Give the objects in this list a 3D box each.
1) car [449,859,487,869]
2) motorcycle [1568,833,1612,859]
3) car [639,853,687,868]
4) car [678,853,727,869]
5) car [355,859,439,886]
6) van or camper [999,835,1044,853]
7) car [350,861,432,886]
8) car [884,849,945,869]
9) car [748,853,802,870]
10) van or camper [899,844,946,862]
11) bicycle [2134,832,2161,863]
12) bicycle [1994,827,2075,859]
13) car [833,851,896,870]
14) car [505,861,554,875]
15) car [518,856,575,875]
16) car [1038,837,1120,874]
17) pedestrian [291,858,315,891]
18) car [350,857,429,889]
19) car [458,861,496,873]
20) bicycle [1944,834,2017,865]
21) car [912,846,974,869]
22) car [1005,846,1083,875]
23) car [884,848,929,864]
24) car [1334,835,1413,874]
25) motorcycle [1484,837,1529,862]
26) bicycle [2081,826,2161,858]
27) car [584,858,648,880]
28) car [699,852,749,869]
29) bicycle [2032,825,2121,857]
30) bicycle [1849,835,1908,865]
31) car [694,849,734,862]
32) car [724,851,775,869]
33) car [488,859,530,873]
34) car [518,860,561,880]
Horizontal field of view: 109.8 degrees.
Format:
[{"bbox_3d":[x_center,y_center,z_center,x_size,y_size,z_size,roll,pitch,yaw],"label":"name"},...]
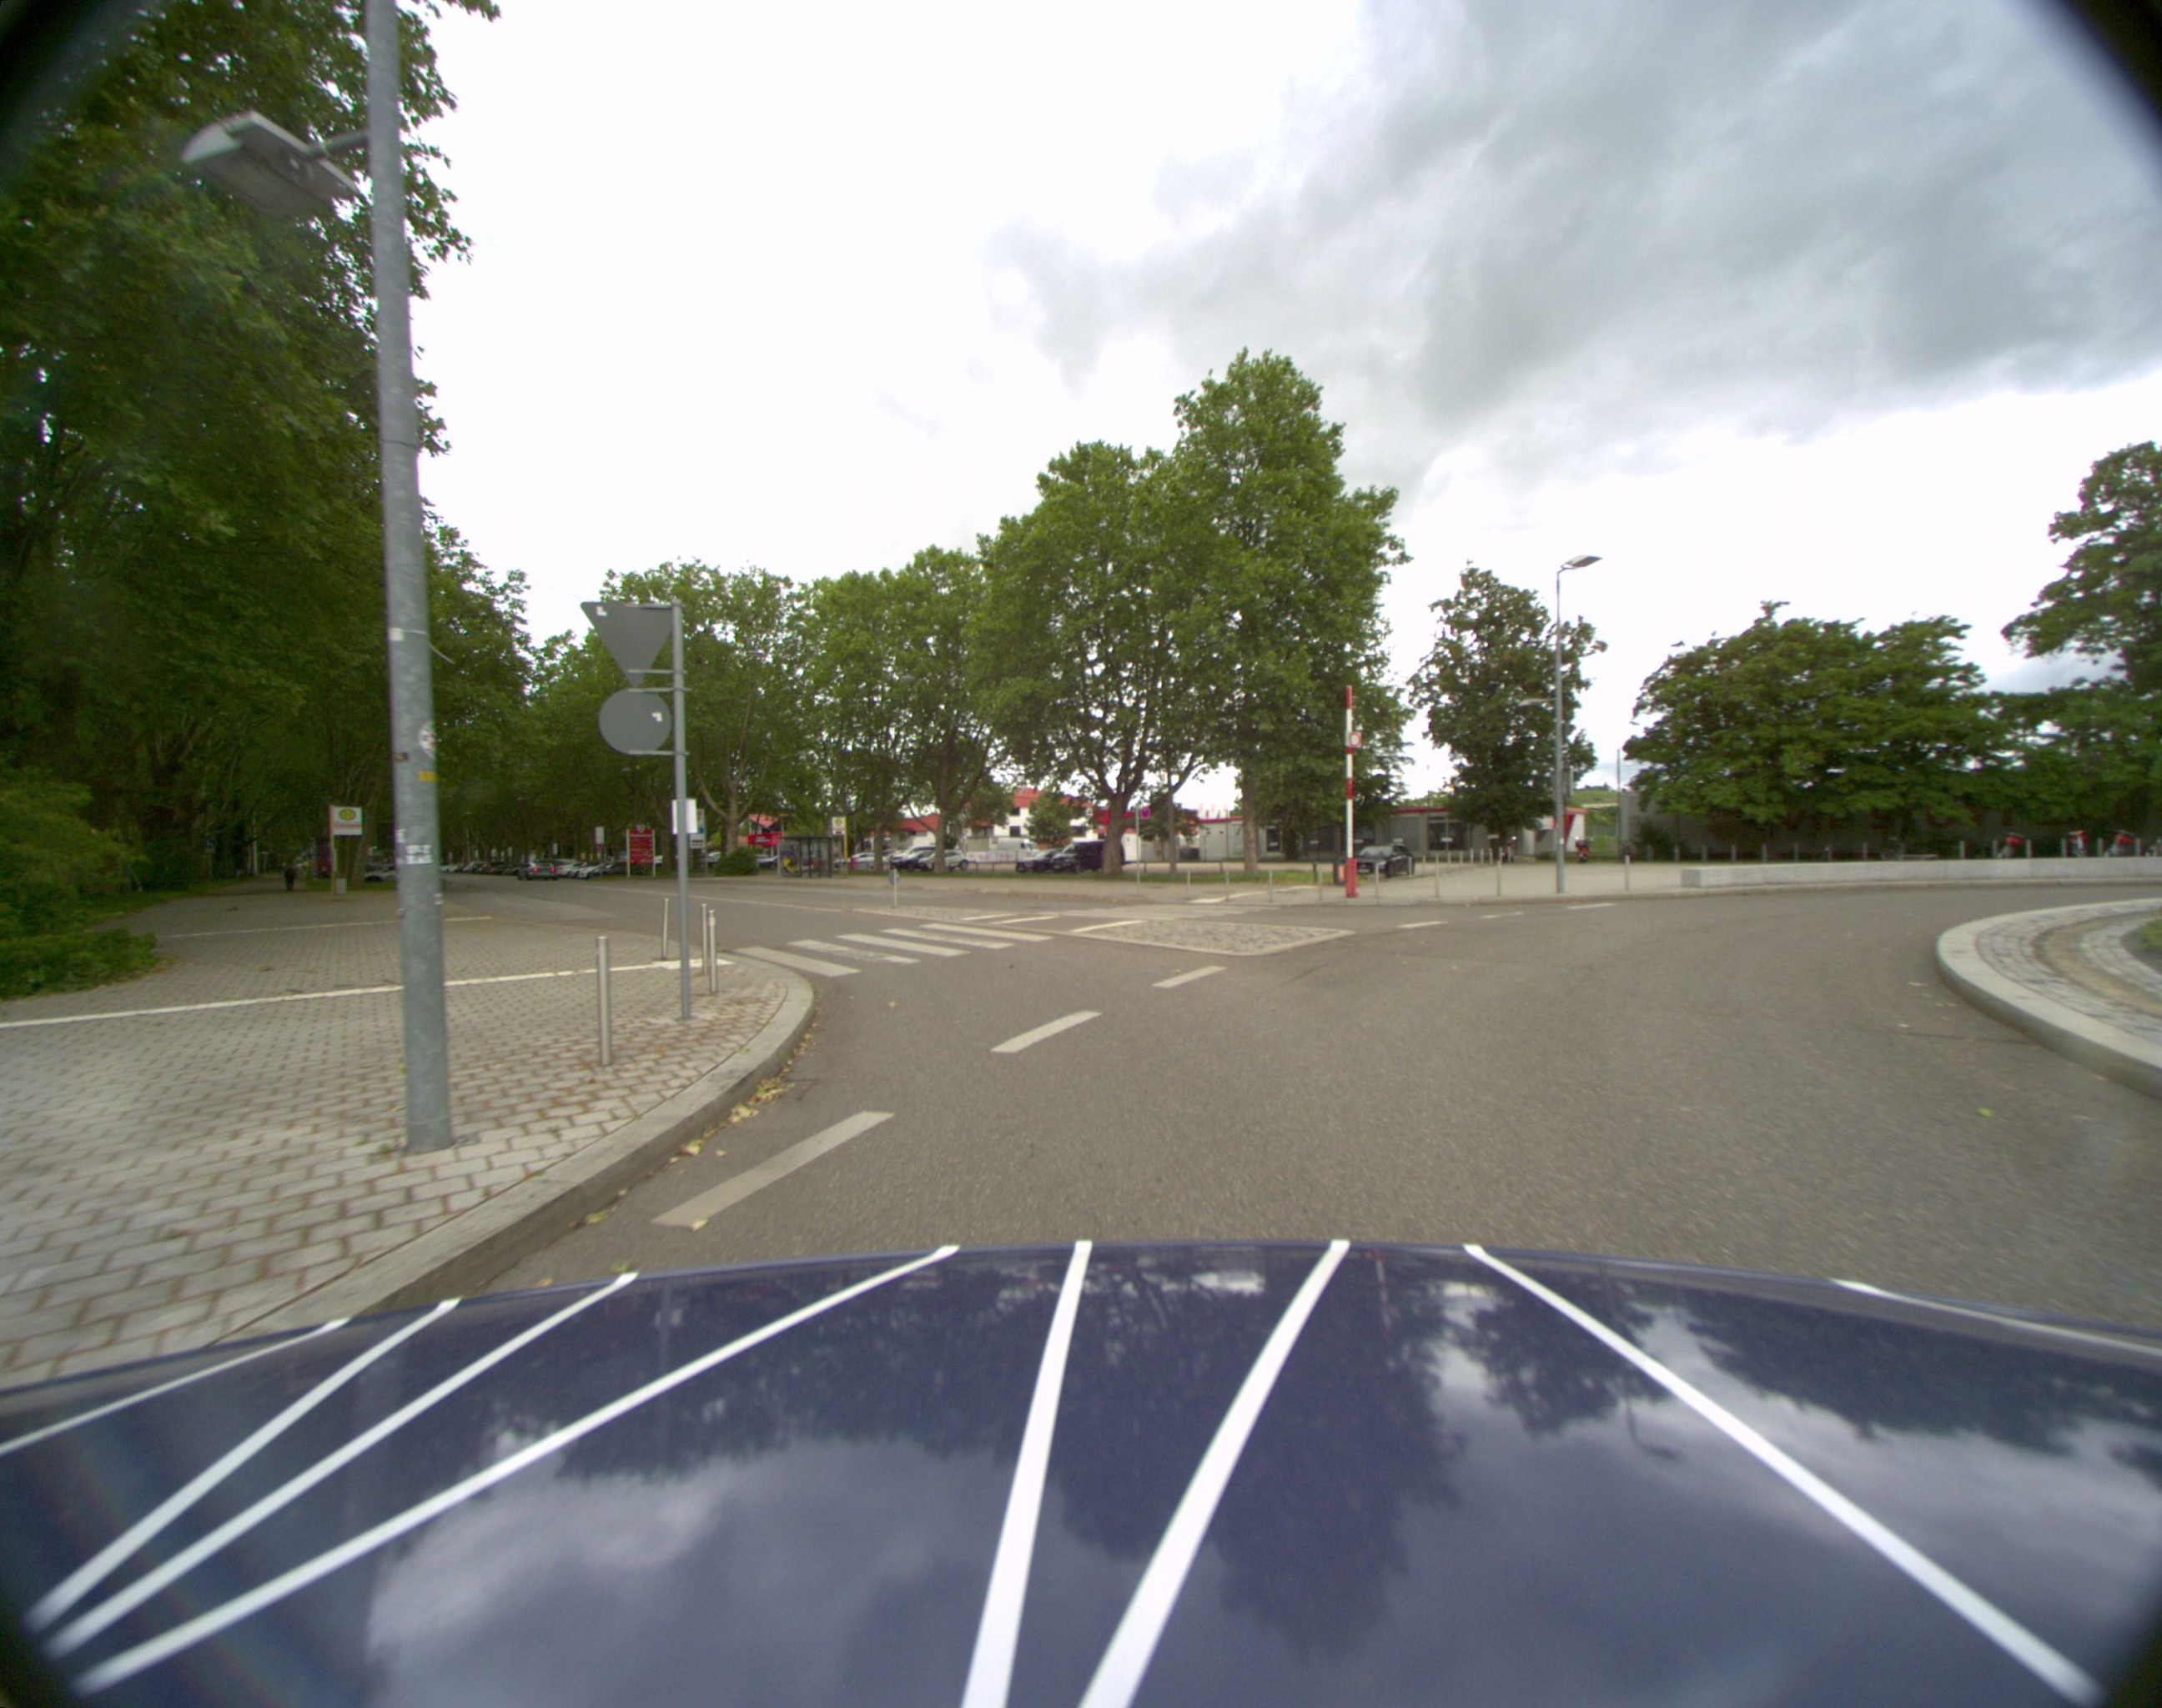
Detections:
[{"bbox_3d":[-95.537,1.563,118.462,1.771,1.416,4.432,-1,-1,43],"label":"car"},{"bbox_3d":[25.414,-0.412,37.872,3.679,1.215,0.771,-3,2,-39],"label":"motorcycle"},{"bbox_3d":[-54.027,0.828,98.270,2.177,1.786,4.967,-1,1,42],"label":"car"},{"bbox_3d":[-44.726,0.774,89.810,2.290,1.716,4.575,0,2,44],"label":"car"},{"bbox_3d":[-49.642,1.333,55.227,4.368,1.624,1.920,-4,2,-45],"label":"car"},{"bbox_3d":[-6.798,-1.139,86.504,5.287,2.002,2.004,0,2,44],"label":"van or camper"},{"bbox_3d":[-51.658,1.422,56.906,4.368,1.596,1.920,-4,2,-45],"label":"car"},{"bbox_3d":[-12.605,0.374,57.682,1.996,1.316,4.008,0,2,44],"label":"car"},{"bbox_3d":[-29.811,0.703,74.062,2.197,1.539,4.343,0,2,44],"label":"car"},{"bbox_3d":[-16.340,-0.116,78.494,2.125,1.700,4.343,0,2,44],"label":"van or camper"},{"bbox_3d":[37.749,-0.222,25.977,0.771,1.091,3.198,0,0,29],"label":"bicycle"},{"bbox_3d":[35.801,-0.427,28.598,0.771,1.091,3.197,0,2,30],"label":"bicycle"},{"bbox_3d":[-19.543,0.561,68.654,4.985,1.543,2.095,-2,2,-31],"label":"car"},{"bbox_3d":[-58.928,1.503,81.213,4.000,1.412,1.750,1,-1,-42],"label":"car"},{"bbox_3d":[-53.366,1.149,75.978,1.862,1.799,4.341,-1,-1,41],"label":"car"},{"bbox_3d":[-0.072,0.052,45.746,4.640,2.014,2.256,-3,2,-43],"label":"car"},{"bbox_3d":[-47.489,1.234,46.377,0.597,2.002,0.788,0,2,28],"label":"pedestrian"},{"bbox_3d":[-49.853,1.359,54.836,4.007,2.002,1.994,-4,2,-45],"label":"car"},{"bbox_3d":[-86.993,1.831,109.443,4.007,1.445,1.850,-3,2,-44],"label":"car"},{"bbox_3d":[34.651,-0.211,29.341,0.771,1.091,3.197,0,2,30],"label":"bicycle"},{"bbox_3d":[-10.159,0.263,56.095,4.007,1.514,1.996,-3,2,-45],"label":"car"},{"bbox_3d":[-2.283,0.374,47.714,4.650,1.559,2.102,-3,3,-43],"label":"car"},{"bbox_3d":[-18.330,0.198,79.899,1.784,1.539,4.239,0,2,43],"label":"car"},{"bbox_3d":[12.733,-0.003,32.935,2.226,1.596,4.008,0,1,36],"label":"car"},{"bbox_3d":[22.774,-0.240,40.605,3.679,1.215,0.771,-3,2,-39],"label":"motorcycle"},{"bbox_3d":[37.274,-0.439,27.070,0.771,1.091,3.197,0,1,29],"label":"bicycle"},{"bbox_3d":[-36.991,1.175,60.533,4.014,1.532,1.799,-3,2,-44],"label":"car"},{"bbox_3d":[-39.840,0.724,84.890,2.290,1.752,4.542,0,2,44],"label":"car"},{"bbox_3d":[36.555,-0.498,27.975,0.771,1.091,3.197,0,2,29],"label":"bicycle"},{"bbox_3d":[32.211,-0.187,30.740,0.771,1.091,3.197,0,2,30],"label":"bicycle"},{"bbox_3d":[-56.030,0.245,116.163,2.177,1.787,4.967,0,2,42],"label":"car"},{"bbox_3d":[-34.637,0.643,79.506,2.125,1.700,4.343,0,2,44],"label":"car"},{"bbox_3d":[-71.260,1.540,94.705,1.747,1.698,3.952,-1,-1,43],"label":"car"},{"bbox_3d":[-41.794,1.237,58.625,4.801,1.444,1.911,-1,-1,45],"label":"car"}]
